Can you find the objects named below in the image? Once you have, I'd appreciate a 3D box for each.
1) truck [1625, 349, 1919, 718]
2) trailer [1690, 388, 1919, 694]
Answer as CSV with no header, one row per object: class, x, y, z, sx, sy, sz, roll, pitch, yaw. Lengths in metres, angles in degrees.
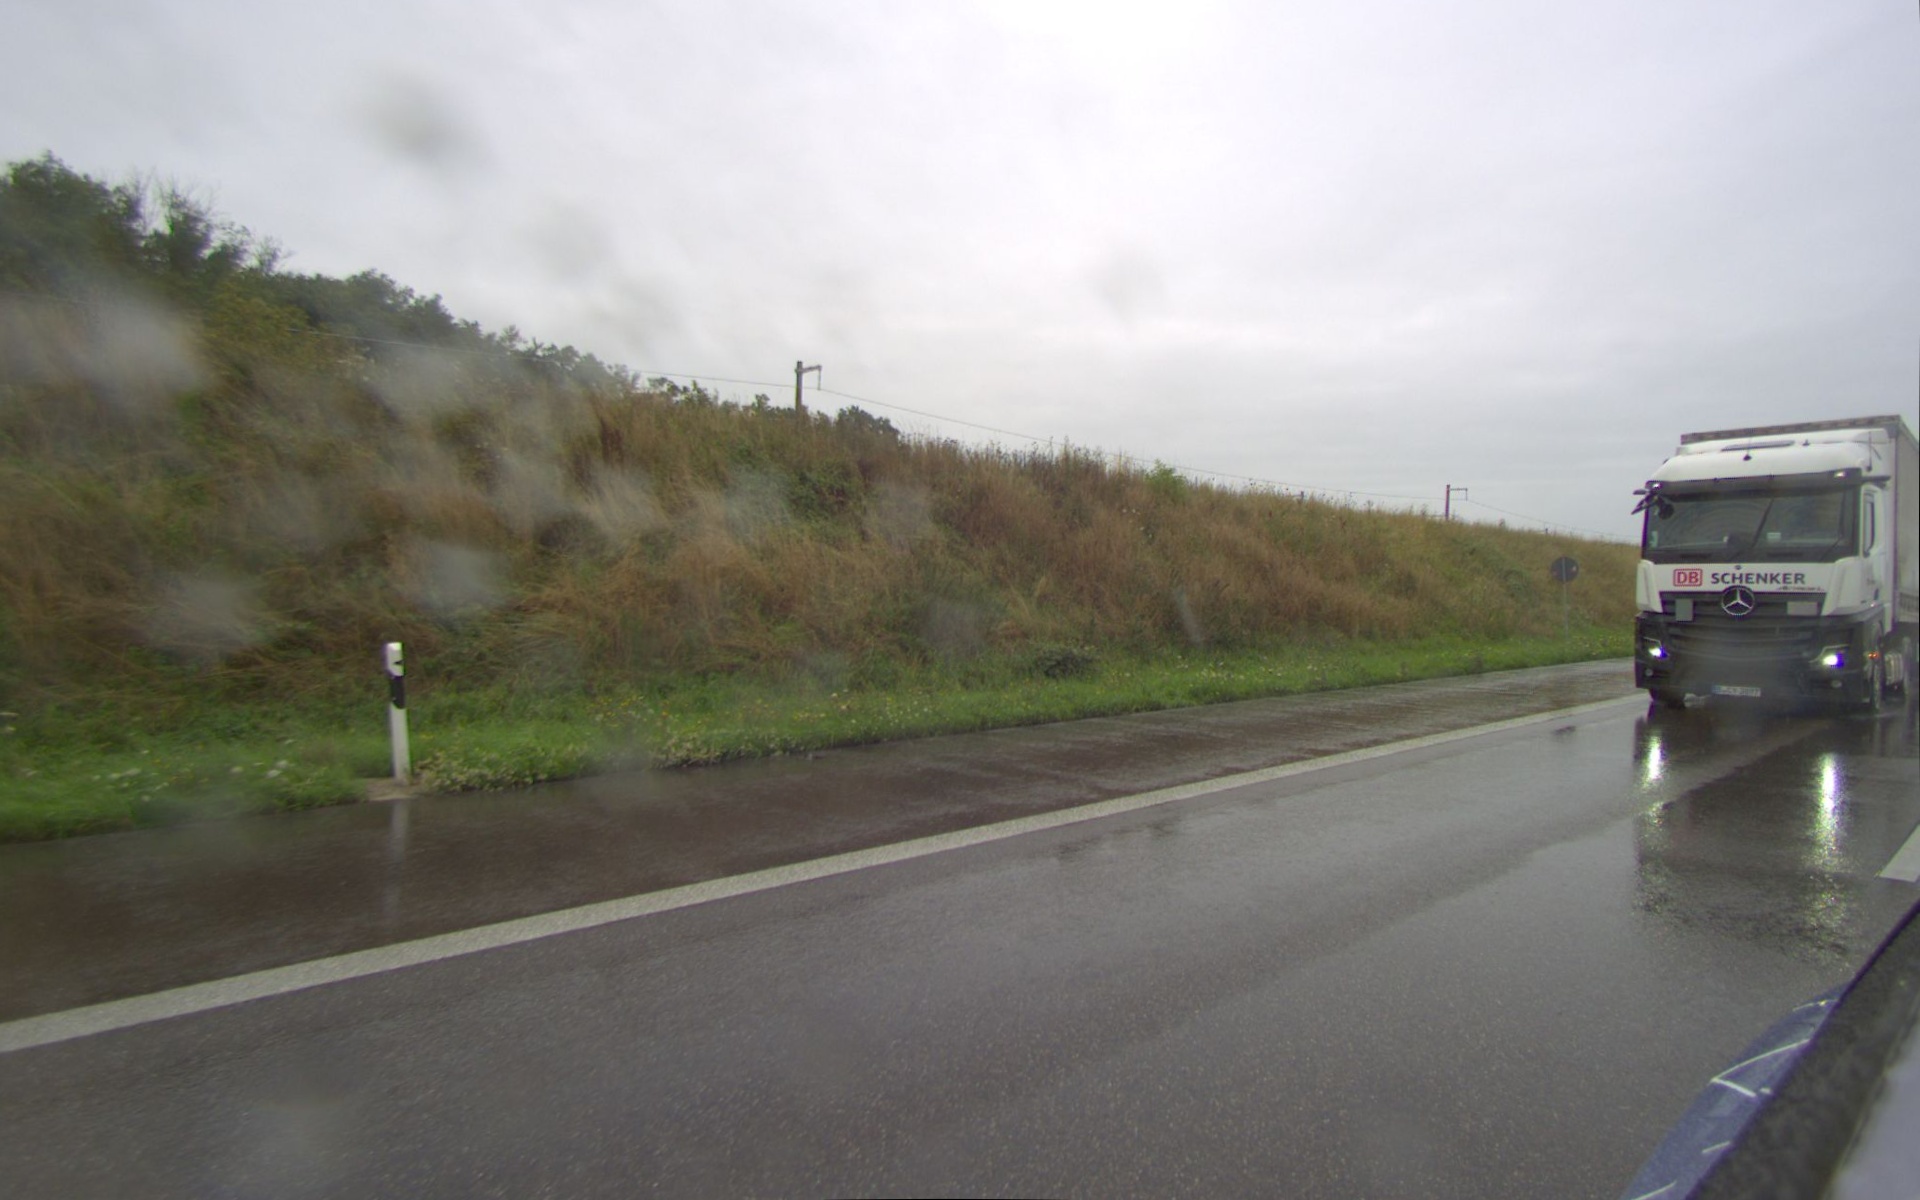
truck,11.777,-0.813,14.467,4.957,4.307,2.630,-1,0,-42
trailer,17.765,-0.914,19.820,13.931,4.302,2.631,-1,0,-41
